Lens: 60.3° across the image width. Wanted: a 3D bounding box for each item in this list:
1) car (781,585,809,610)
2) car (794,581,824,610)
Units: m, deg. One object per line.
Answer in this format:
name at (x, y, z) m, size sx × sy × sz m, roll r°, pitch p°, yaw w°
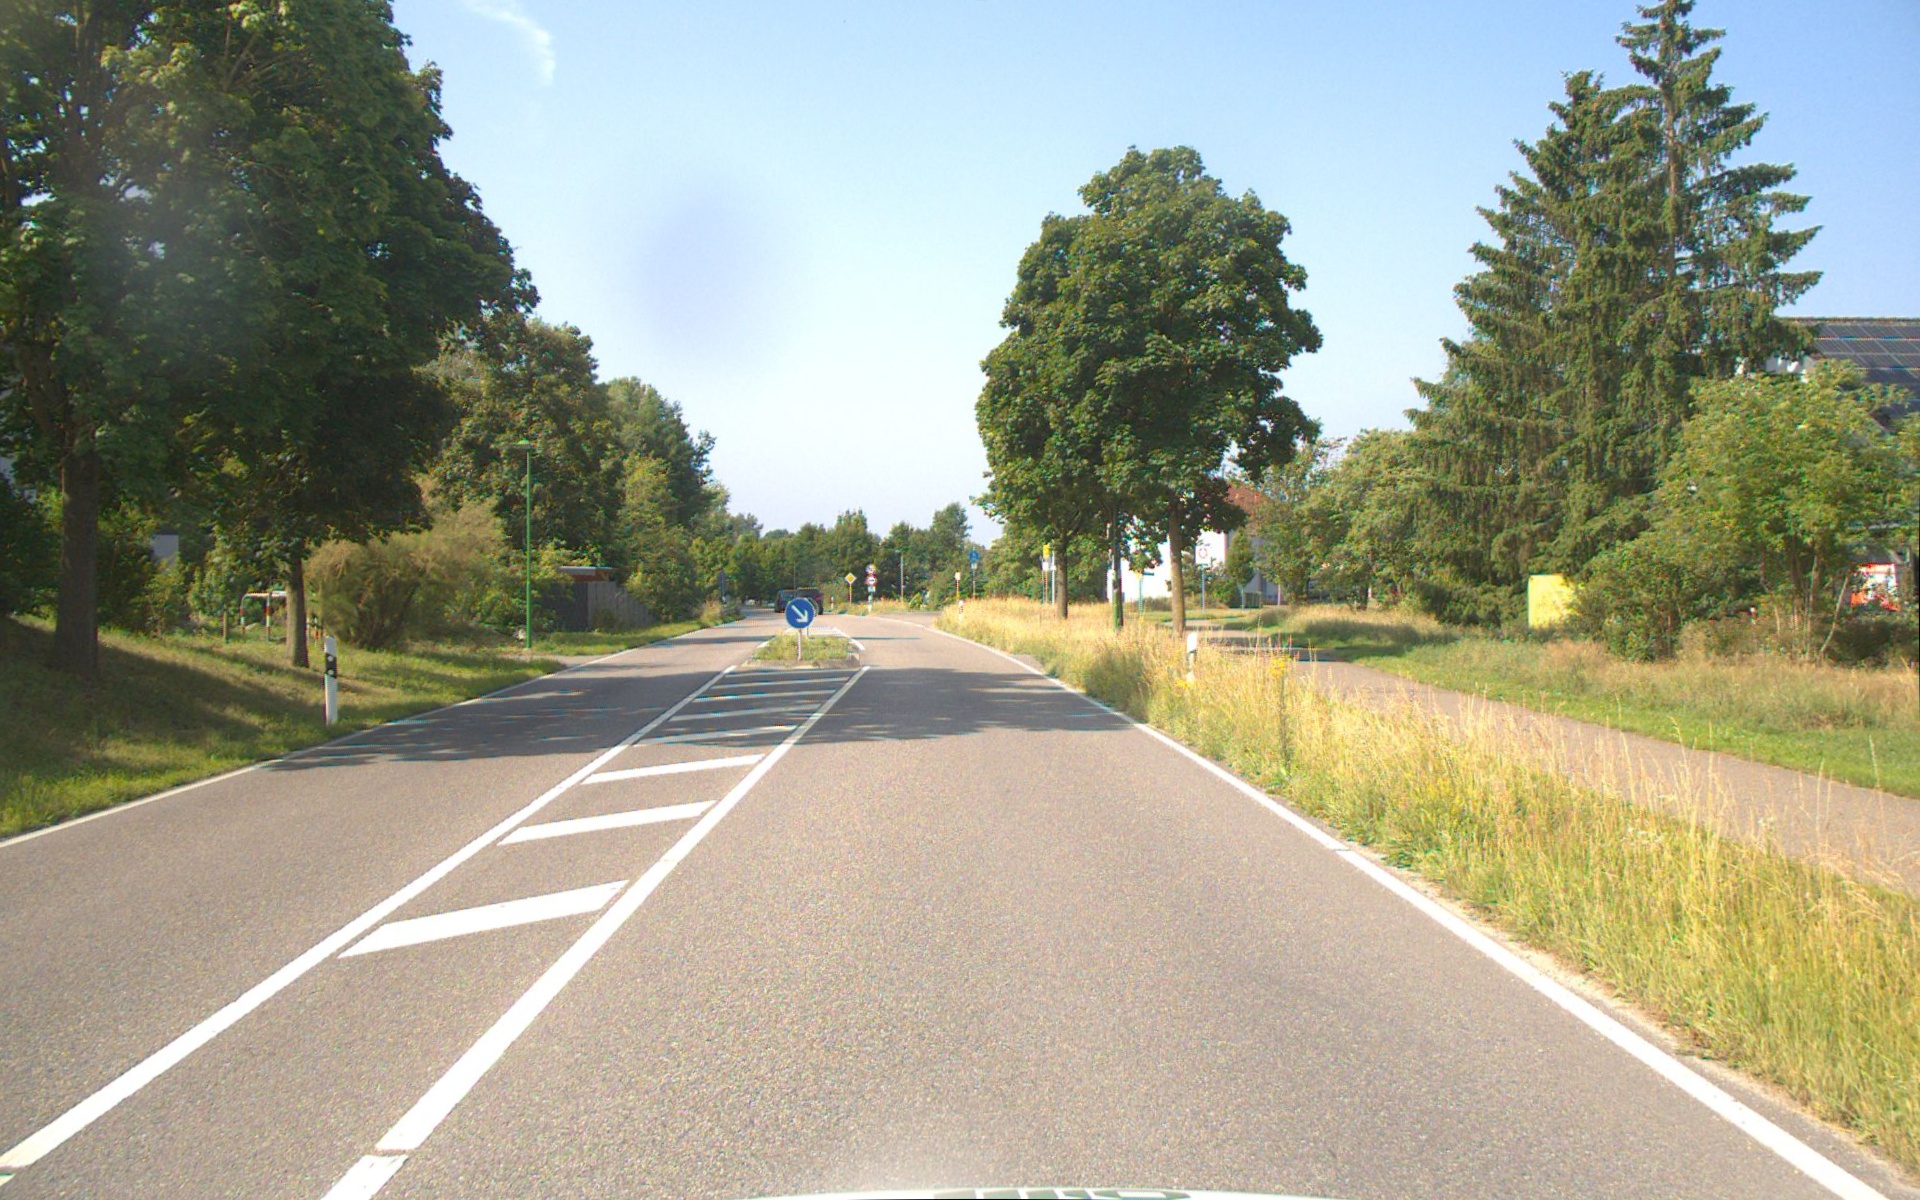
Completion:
car at (-12.483, -0.203, 124.610) m, size 1.966 × 1.802 × 3.993 m, roll 0°, pitch 1°, yaw -8°
car at (-9.626, -0.310, 105.272) m, size 1.888 × 1.802 × 3.995 m, roll 0°, pitch 1°, yaw -6°
